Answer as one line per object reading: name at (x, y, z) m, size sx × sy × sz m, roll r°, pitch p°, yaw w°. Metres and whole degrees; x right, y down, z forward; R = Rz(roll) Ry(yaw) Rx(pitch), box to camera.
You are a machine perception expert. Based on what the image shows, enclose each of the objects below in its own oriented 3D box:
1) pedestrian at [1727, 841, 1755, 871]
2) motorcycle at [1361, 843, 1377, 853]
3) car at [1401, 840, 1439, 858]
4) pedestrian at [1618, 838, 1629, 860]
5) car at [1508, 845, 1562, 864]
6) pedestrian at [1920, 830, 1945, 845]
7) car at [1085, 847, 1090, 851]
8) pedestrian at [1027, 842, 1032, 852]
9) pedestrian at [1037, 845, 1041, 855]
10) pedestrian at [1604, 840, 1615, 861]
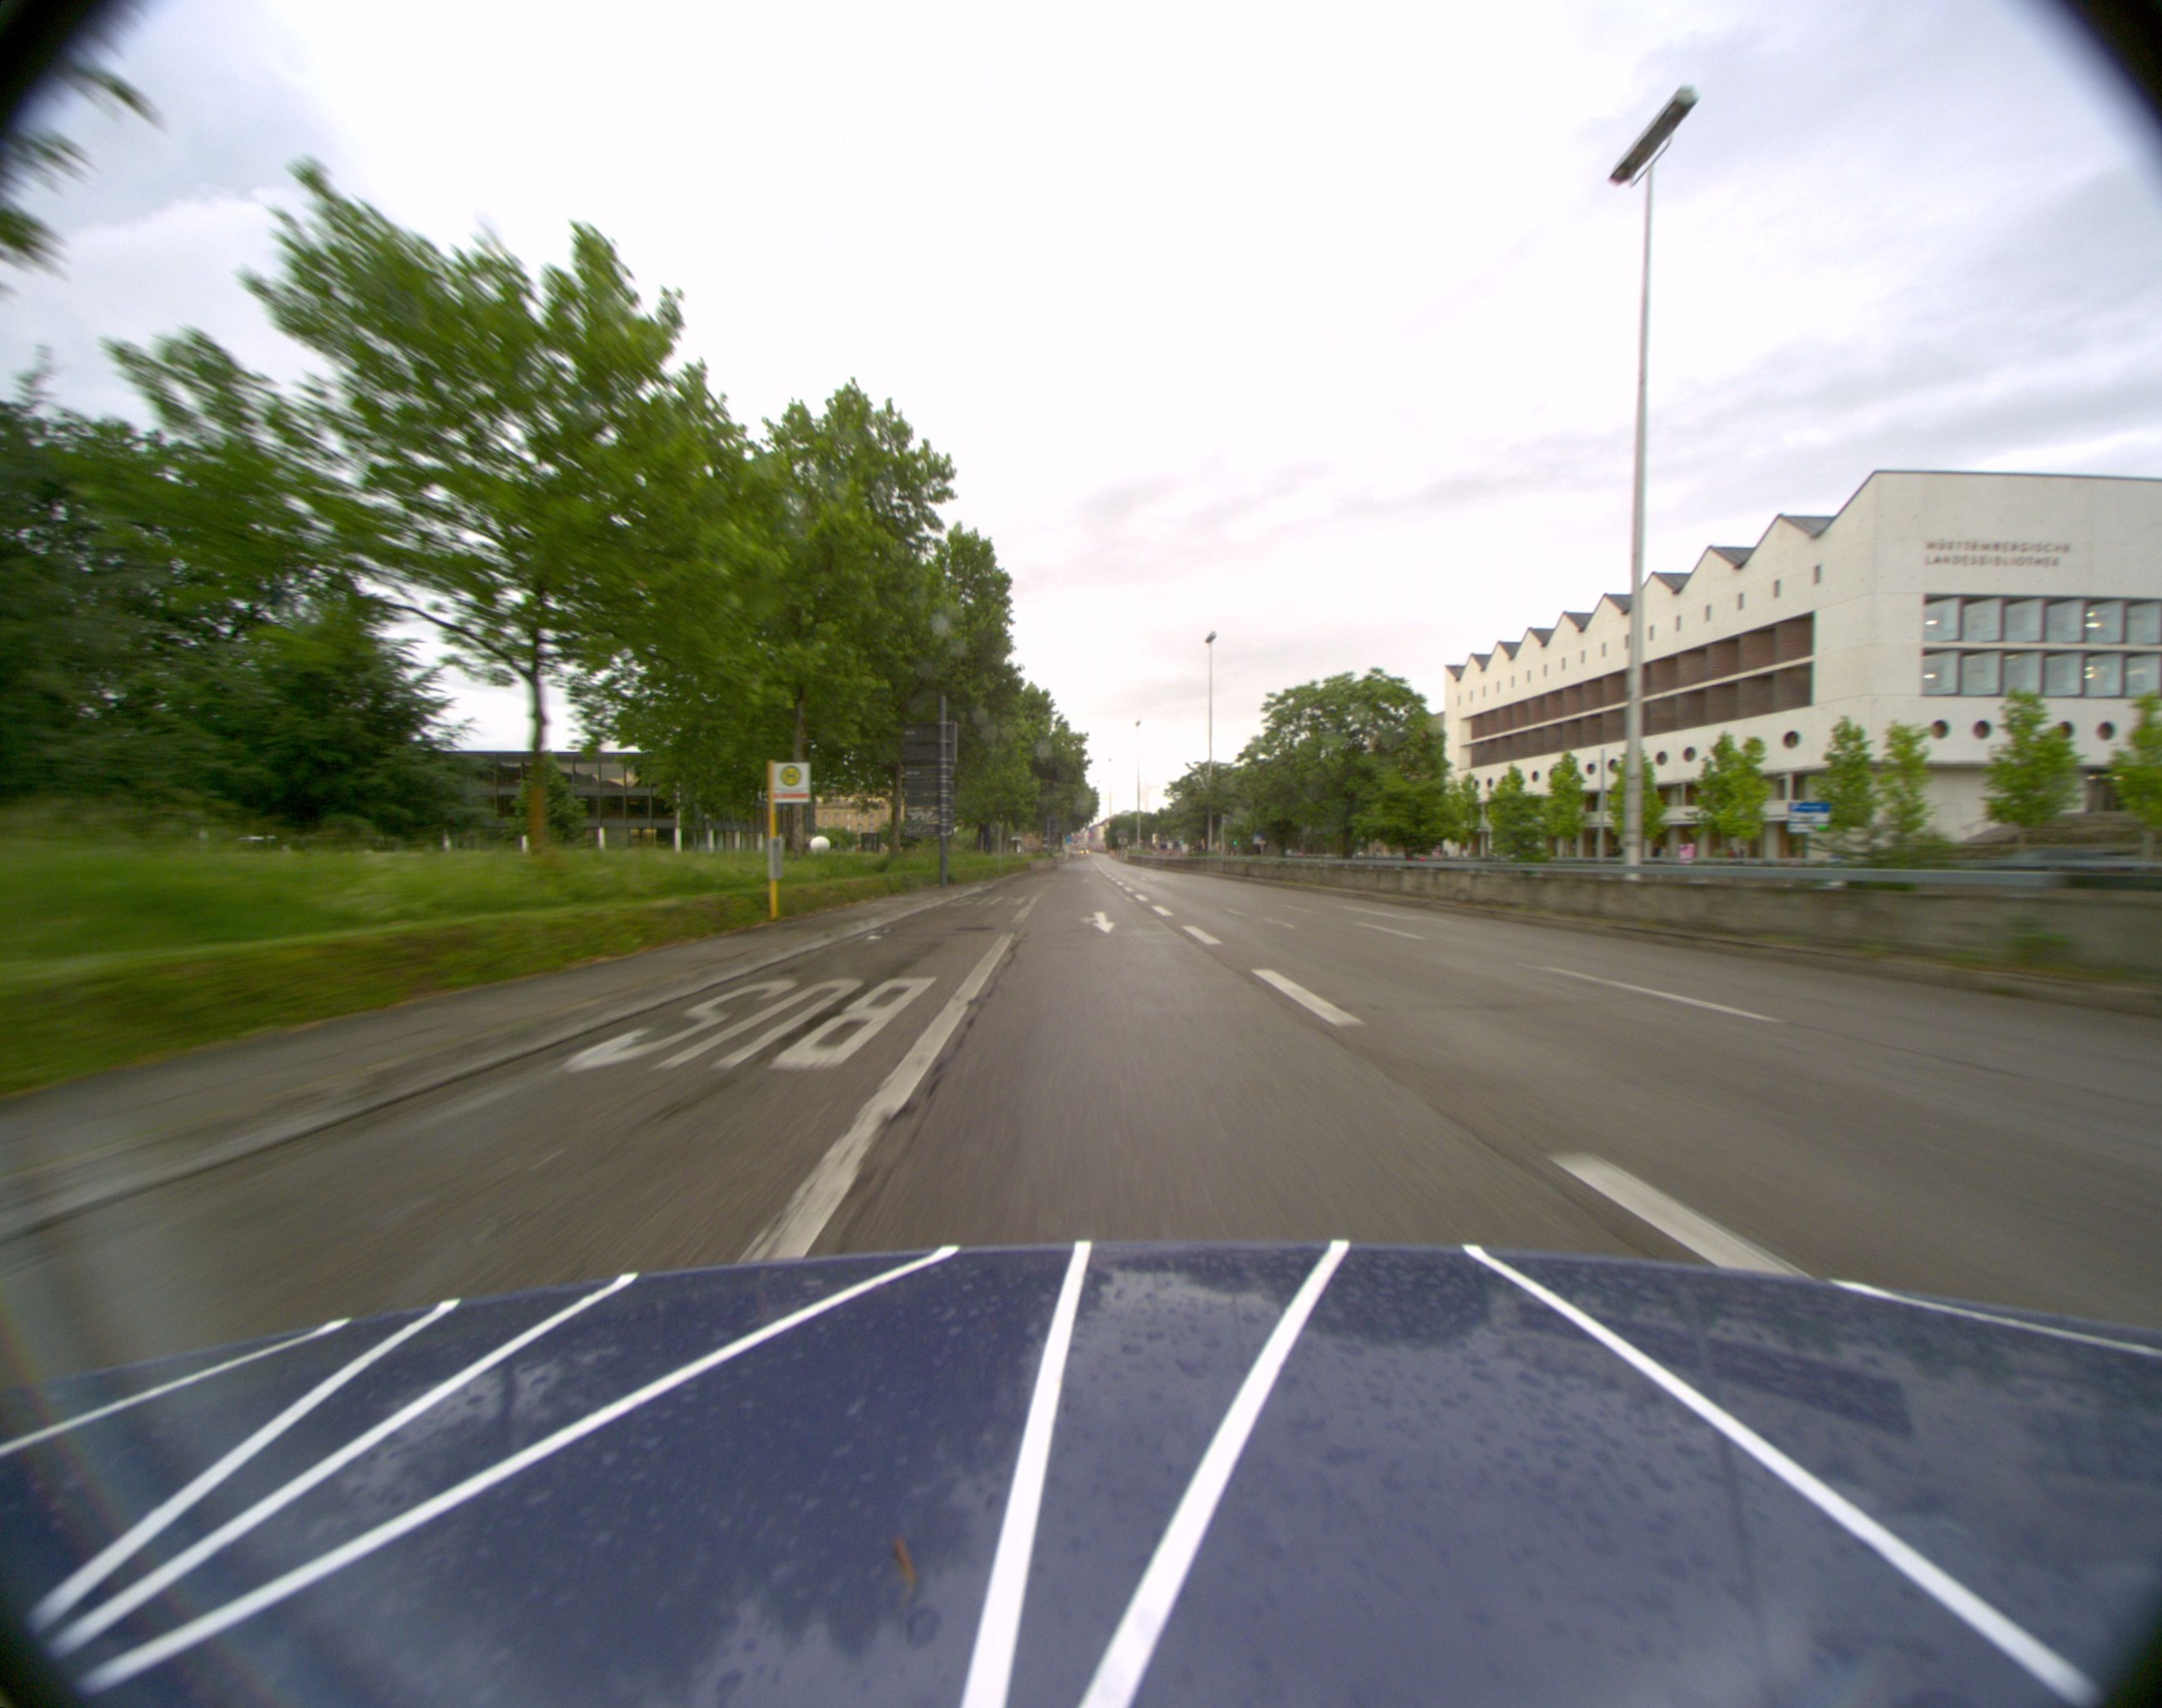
pedestrian at (42.398, 0.138, 48.827) m, size 1.089 × 1.856 × 0.829 m, roll -2°, pitch 2°, yaw -7°
motorcycle at (37.079, -0.809, 97.846) m, size 1.817 × 1.175 × 0.606 m, roll -2°, pitch 2°, yaw -15°
car at (30.906, -0.451, 69.391) m, size 1.699 × 1.547 × 3.474 m, roll -2°, pitch 1°, yaw -4°
pedestrian at (46.825, -0.421, 65.549) m, size 0.738 × 1.848 × 0.703 m, roll 0°, pitch 2°, yaw 41°
car at (31.185, 0.022, 52.326) m, size 1.569 × 1.220 × 3.541 m, roll -1°, pitch 1°, yaw 0°
pedestrian at (52.289, -1.026, 46.657) m, size 0.809 × 0.882 × 0.628 m, roll -1°, pitch 2°, yaw 0°
car at (1.805, -1.388, 210.021) m, size 1.517 × 1.138 × 2.760 m, roll -1°, pitch 1°, yaw 2°
pedestrian at (-8.802, -1.203, 130.592) m, size 0.671 × 1.656 × 0.587 m, roll 0°, pitch 2°, yaw -17°
pedestrian at (-7.430, -0.658, 134.156) m, size 0.594 × 1.764 × 0.587 m, roll -1°, pitch 2°, yaw 16°
pedestrian at (46.068, -0.294, 66.212) m, size 0.738 × 1.848 × 0.703 m, roll 0°, pitch 2°, yaw 41°
